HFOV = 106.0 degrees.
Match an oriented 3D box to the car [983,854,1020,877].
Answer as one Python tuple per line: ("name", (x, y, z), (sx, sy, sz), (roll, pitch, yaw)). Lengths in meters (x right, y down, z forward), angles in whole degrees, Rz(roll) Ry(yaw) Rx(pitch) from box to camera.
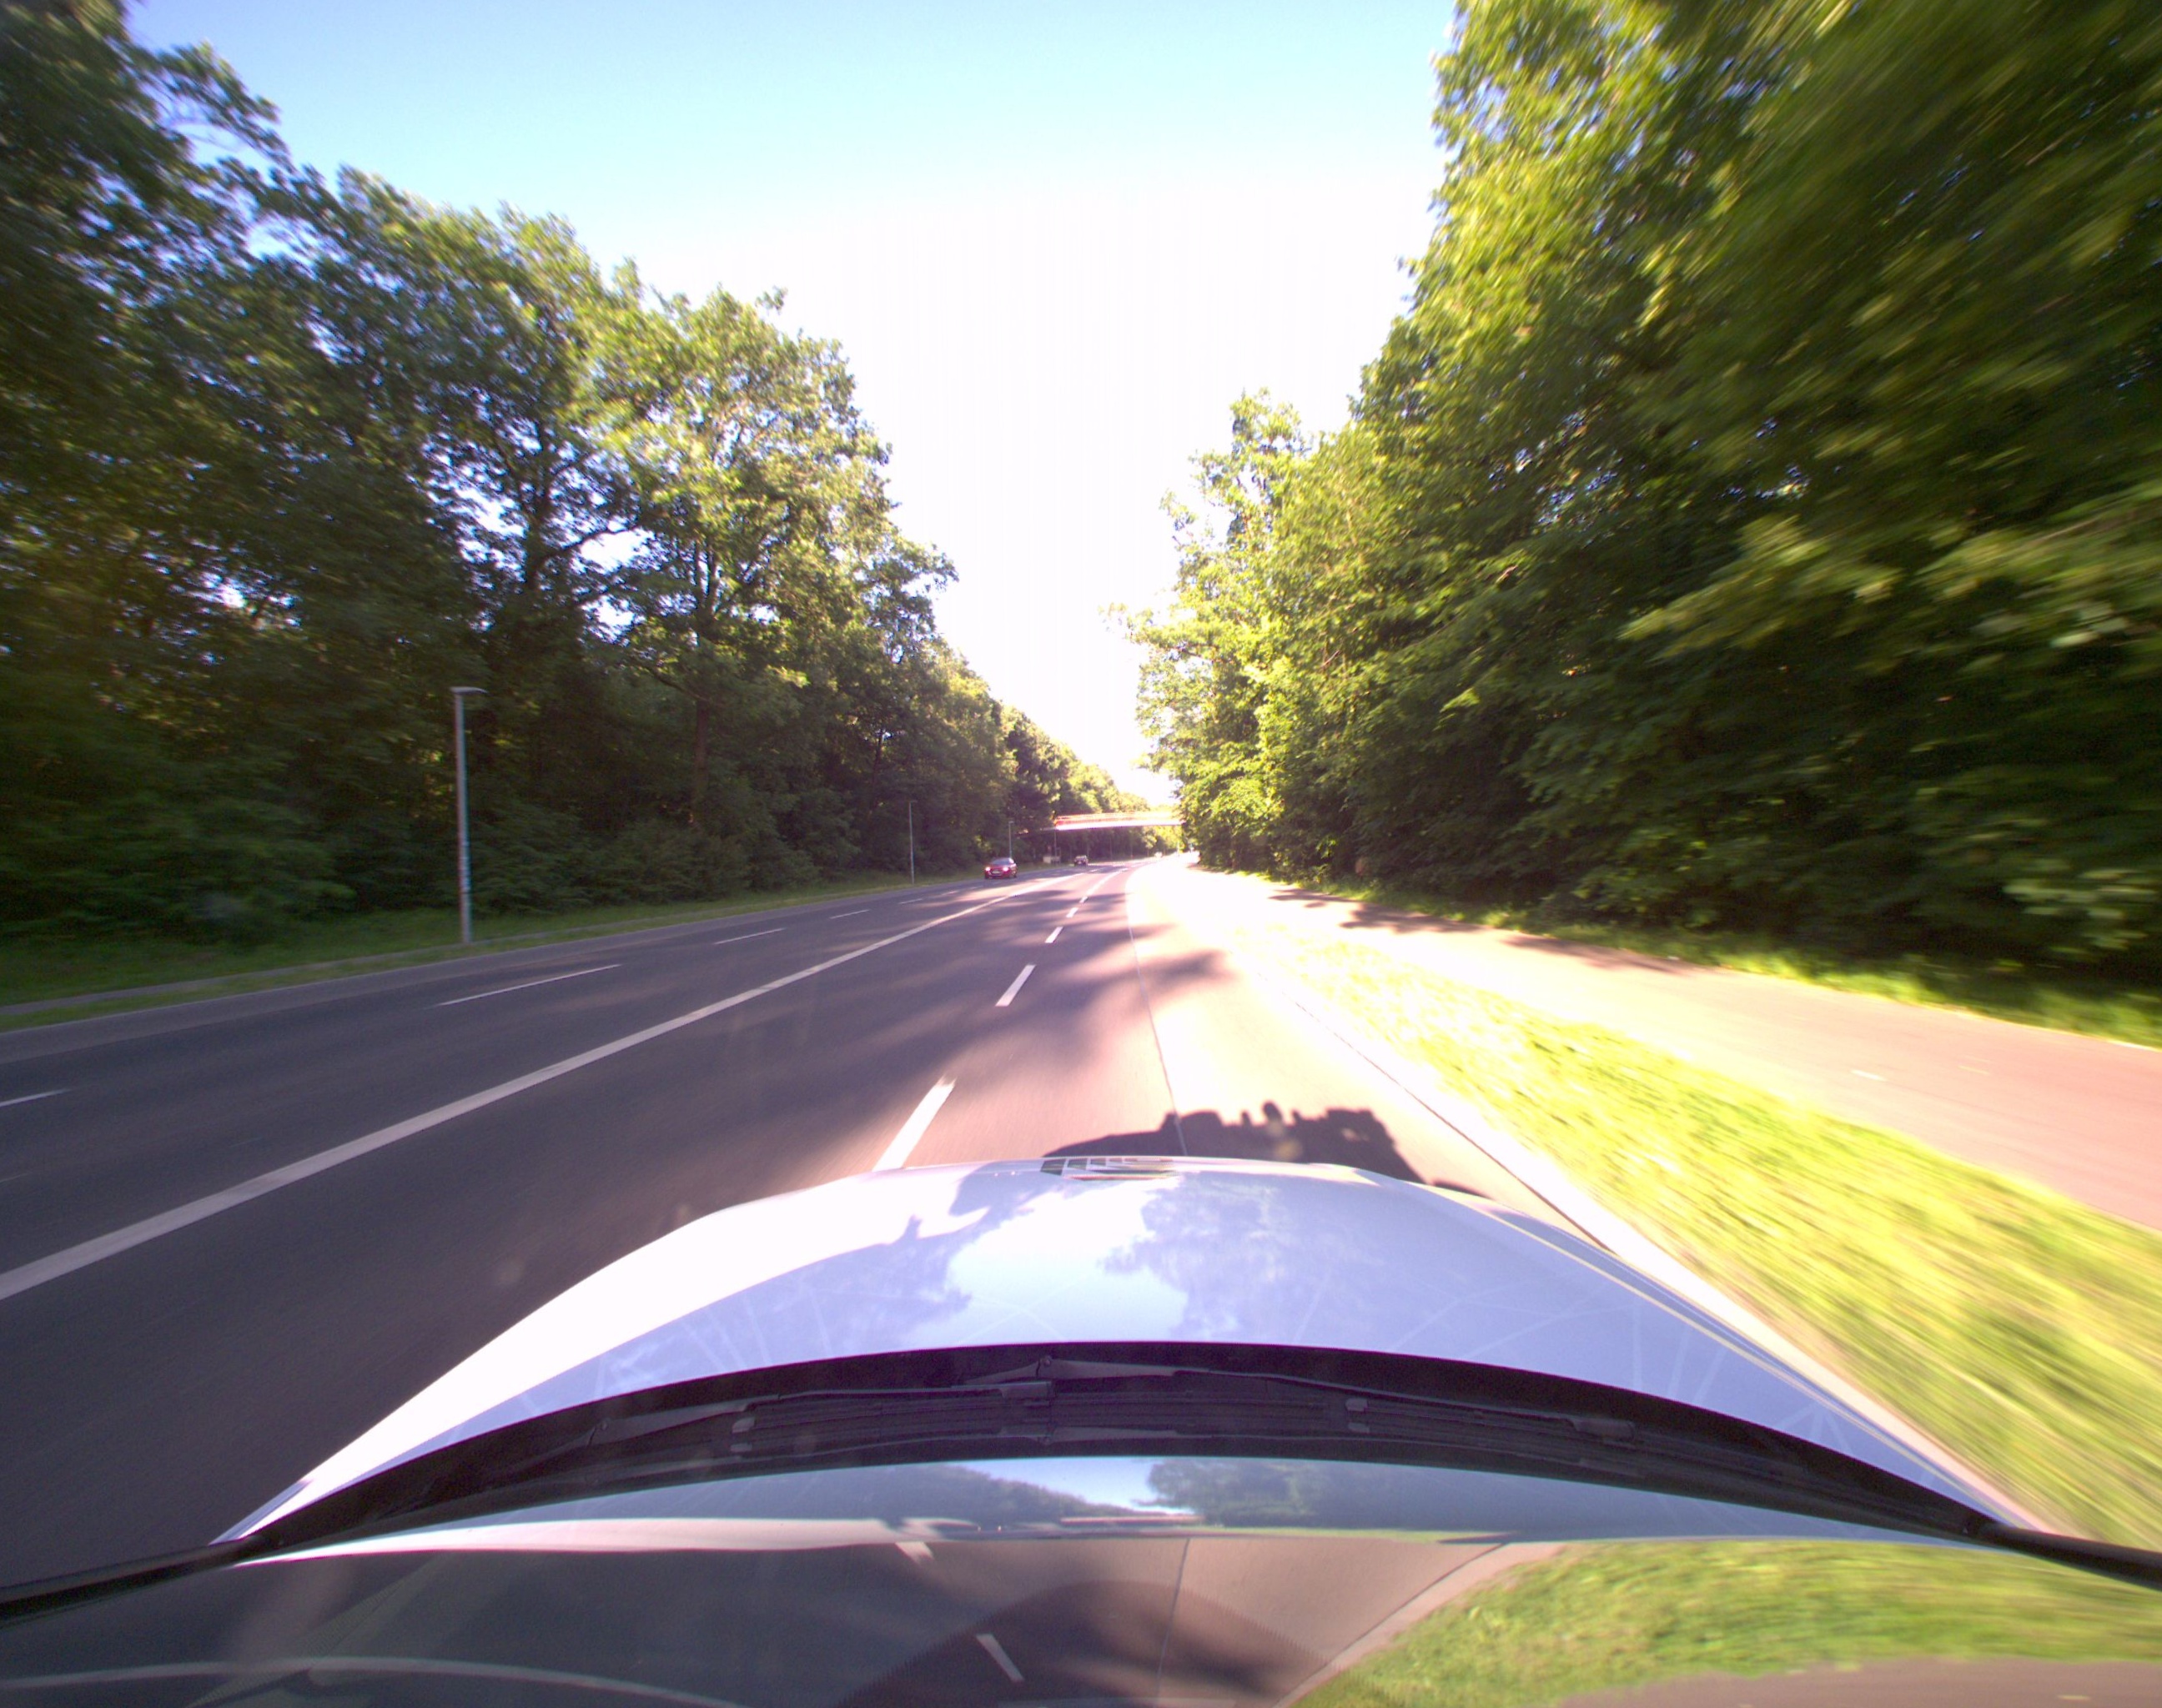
("car", (-5.340, 0.761, 55.183), (1.702, 1.423, 4.135), (-1, 0, 5))

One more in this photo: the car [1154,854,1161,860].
("car", (22.101, 0.827, 235.052), (1.751, 1.582, 4.178), (-1, 0, 8))

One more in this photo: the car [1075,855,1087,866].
("car", (0.041, 0.925, 110.366), (1.489, 1.444, 3.502), (-1, 0, 2))
